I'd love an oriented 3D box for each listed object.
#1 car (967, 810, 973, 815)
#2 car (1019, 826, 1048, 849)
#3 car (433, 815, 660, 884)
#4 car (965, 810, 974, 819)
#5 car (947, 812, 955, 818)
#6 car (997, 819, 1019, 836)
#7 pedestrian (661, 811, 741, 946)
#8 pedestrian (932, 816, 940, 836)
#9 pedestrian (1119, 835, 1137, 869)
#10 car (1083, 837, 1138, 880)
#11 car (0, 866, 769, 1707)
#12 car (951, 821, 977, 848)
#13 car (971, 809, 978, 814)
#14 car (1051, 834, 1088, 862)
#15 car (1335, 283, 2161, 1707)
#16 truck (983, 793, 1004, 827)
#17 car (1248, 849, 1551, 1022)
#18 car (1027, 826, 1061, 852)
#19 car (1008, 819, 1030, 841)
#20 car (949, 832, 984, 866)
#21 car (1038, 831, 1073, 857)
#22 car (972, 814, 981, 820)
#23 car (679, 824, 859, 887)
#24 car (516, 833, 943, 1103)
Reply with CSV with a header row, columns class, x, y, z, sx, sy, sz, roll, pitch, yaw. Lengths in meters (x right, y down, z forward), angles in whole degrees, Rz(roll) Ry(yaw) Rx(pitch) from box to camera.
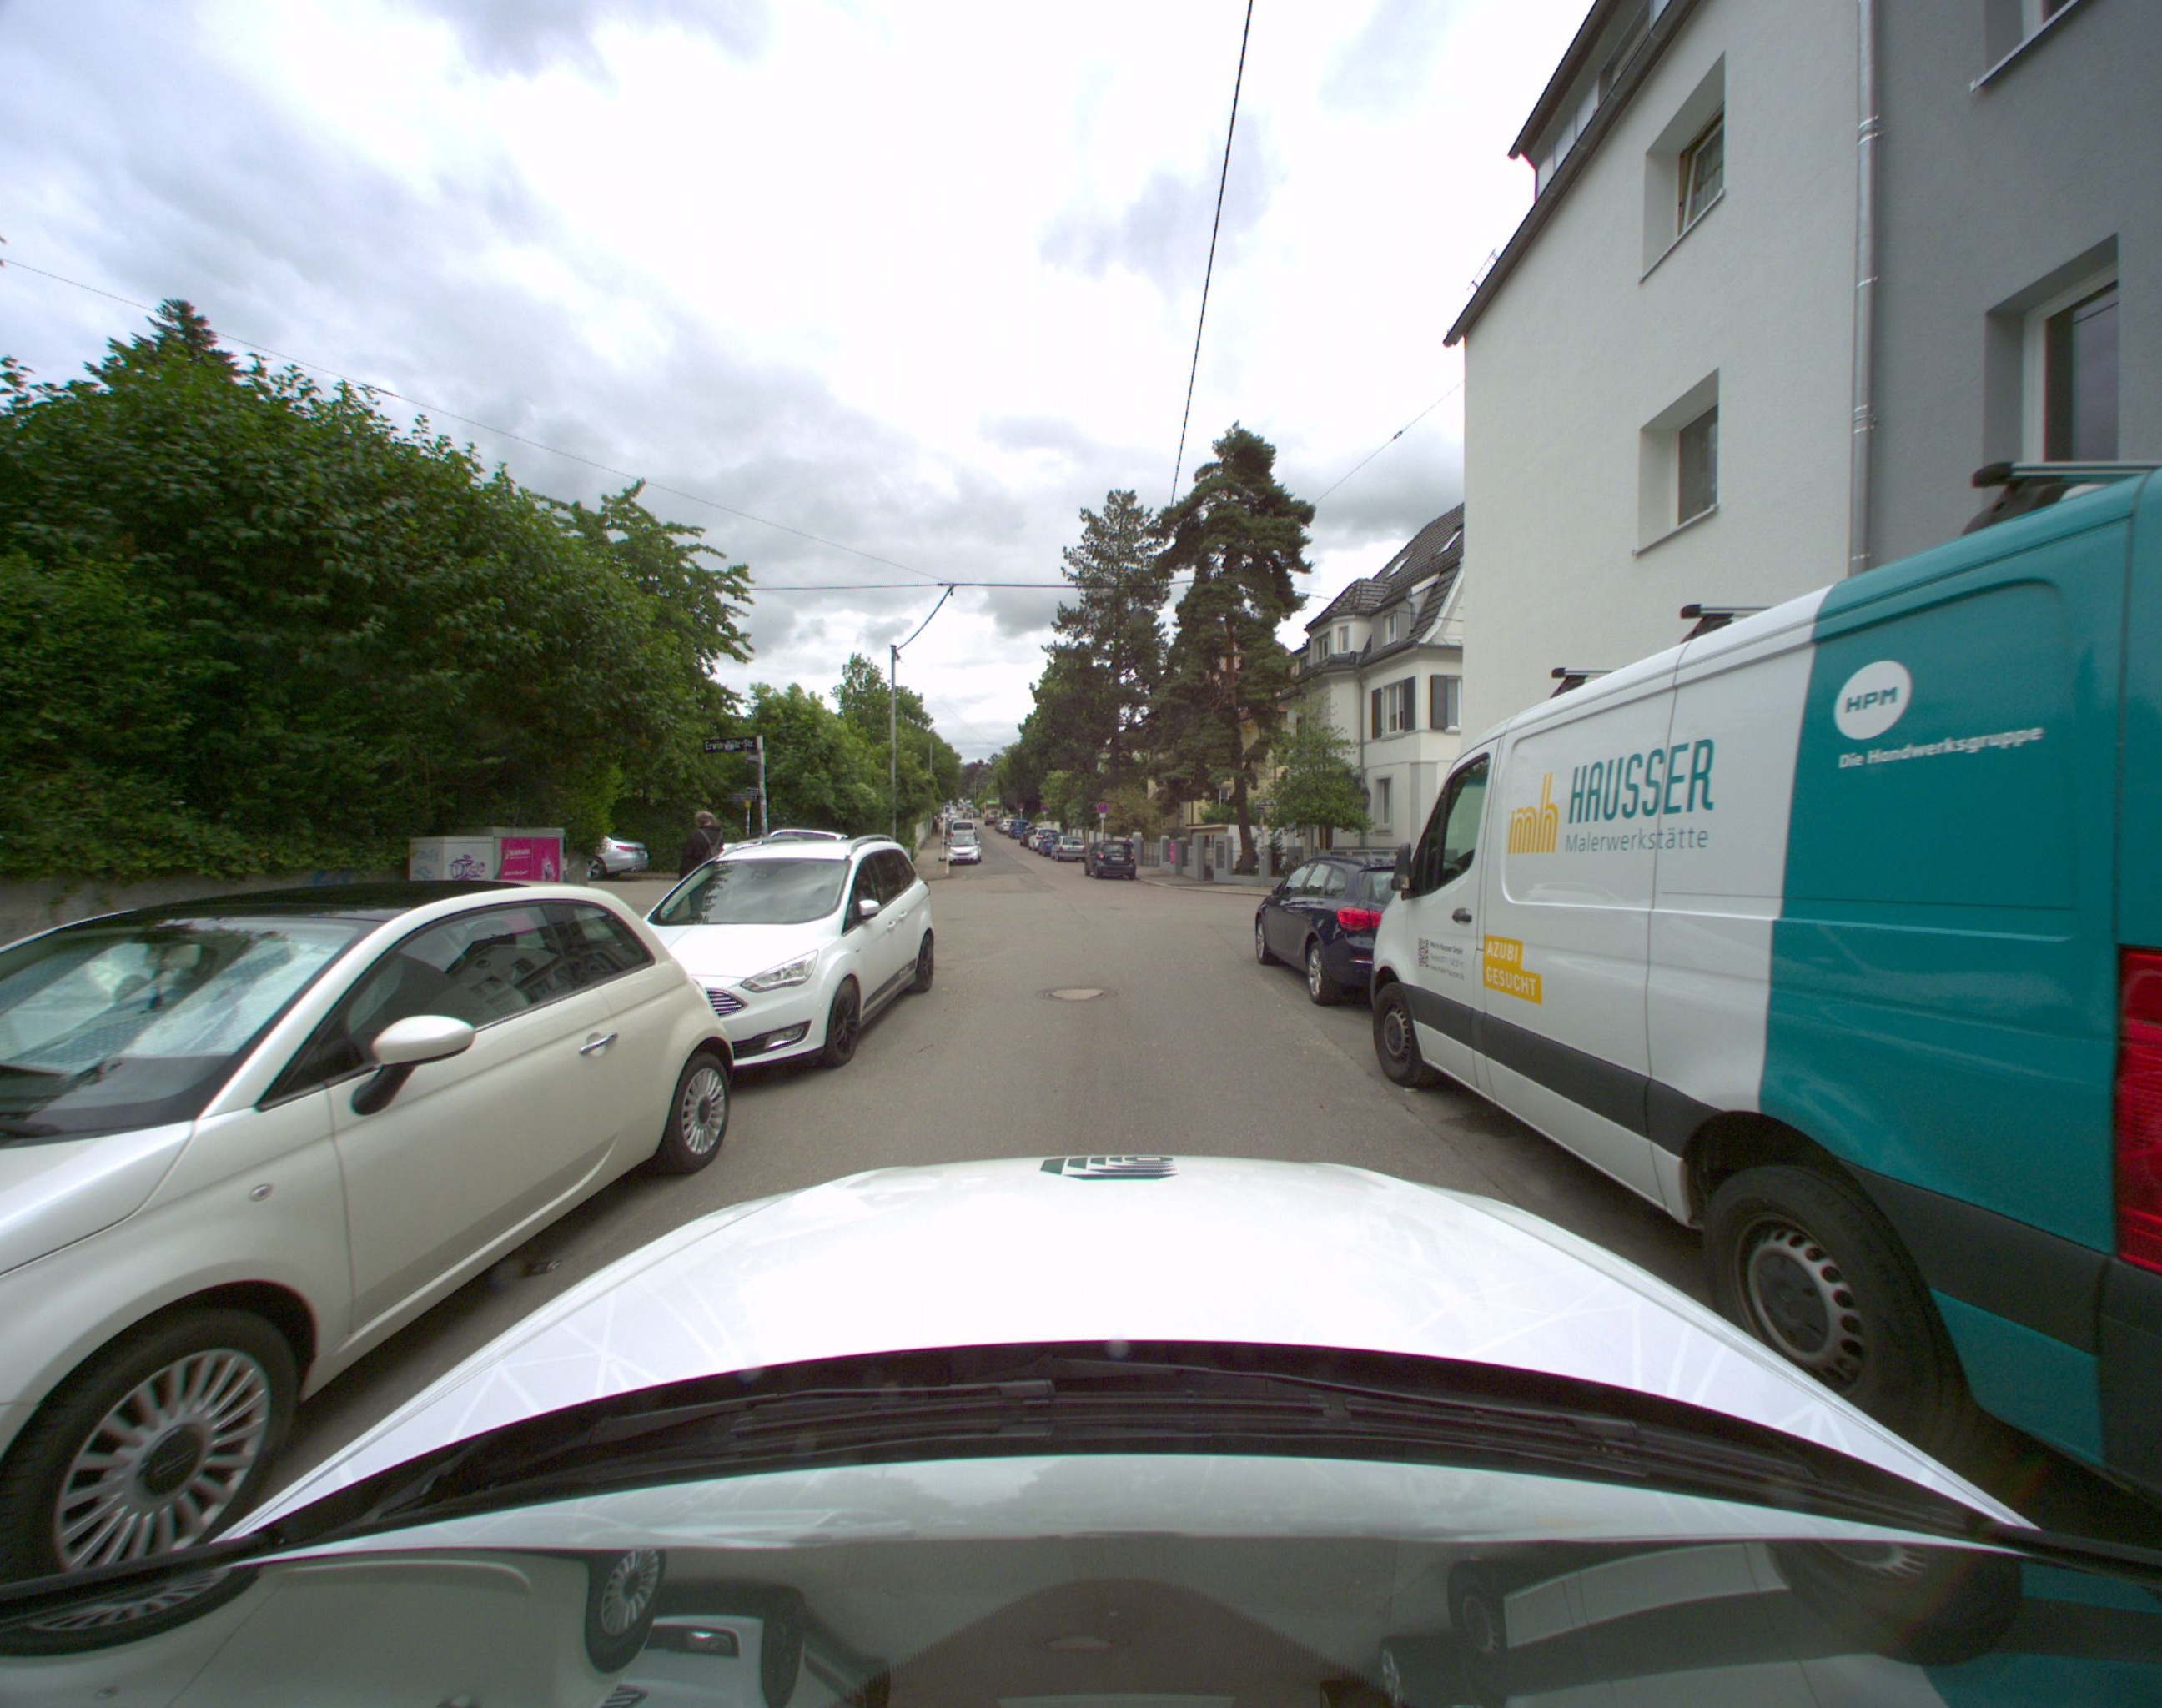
class,x,y,z,sx,sy,sz,roll,pitch,yaw
car,-32.480,-12.152,237.794,1.788,1.529,3.725,0,3,-8
car,-3.685,-1.310,62.420,1.750,1.607,4.063,2,2,-10
car,-13.792,-0.102,21.331,4.508,1.437,1.825,4,0,-16
car,-23.512,-8.307,171.678,1.634,1.700,3.484,1,4,-10
car,-32.390,-9.713,203.384,1.709,1.585,3.992,1,3,-7
car,-7.864,-2.884,87.487,1.759,1.605,4.556,1,3,-13
pedestrian,-5.111,0.323,10.996,0.821,1.759,0.641,2,1,-15
pedestrian,-15.049,-2.894,84.437,0.811,2.013,0.858,0,3,-9
pedestrian,2.240,-0.087,38.992,0.679,1.577,0.905,-2,1,-3
car,1.182,0.158,33.566,1.573,1.531,2.857,2,2,-12
car,-2.673,0.837,2.868,1.601,1.453,3.615,-3,0,2
car,-8.912,-1.524,61.856,1.854,1.912,4.606,-2,3,-9
car,-29.950,-11.904,229.229,1.810,1.335,3.621,1,4,-10
car,-0.686,-0.371,45.815,1.573,1.400,3.645,2,3,-9
car,2.902,0.286,3.852,1.985,2.422,5.297,0,0,3
truck,-12.699,-6.334,117.706,2.523,4.746,7.168,1,3,-9
car,3.239,0.700,9.297,1.812,1.485,4.287,0,1,0
car,-2.617,-1.049,56.749,1.785,1.603,4.290,2,3,-11
car,-5.885,-2.298,76.882,1.682,1.828,4.144,2,3,-10
car,-5.984,-0.291,42.800,1.439,1.551,2.768,-3,3,-2
car,-1.628,-0.673,50.624,1.647,1.458,4.040,1,2,-9
car,-23.866,-8.499,186.326,1.779,1.488,3.987,0,3,-10
car,-9.057,0.047,23.939,1.812,1.655,4.541,3,1,44
car,-2.537,0.661,7.140,1.797,1.659,4.153,-1,1,2
